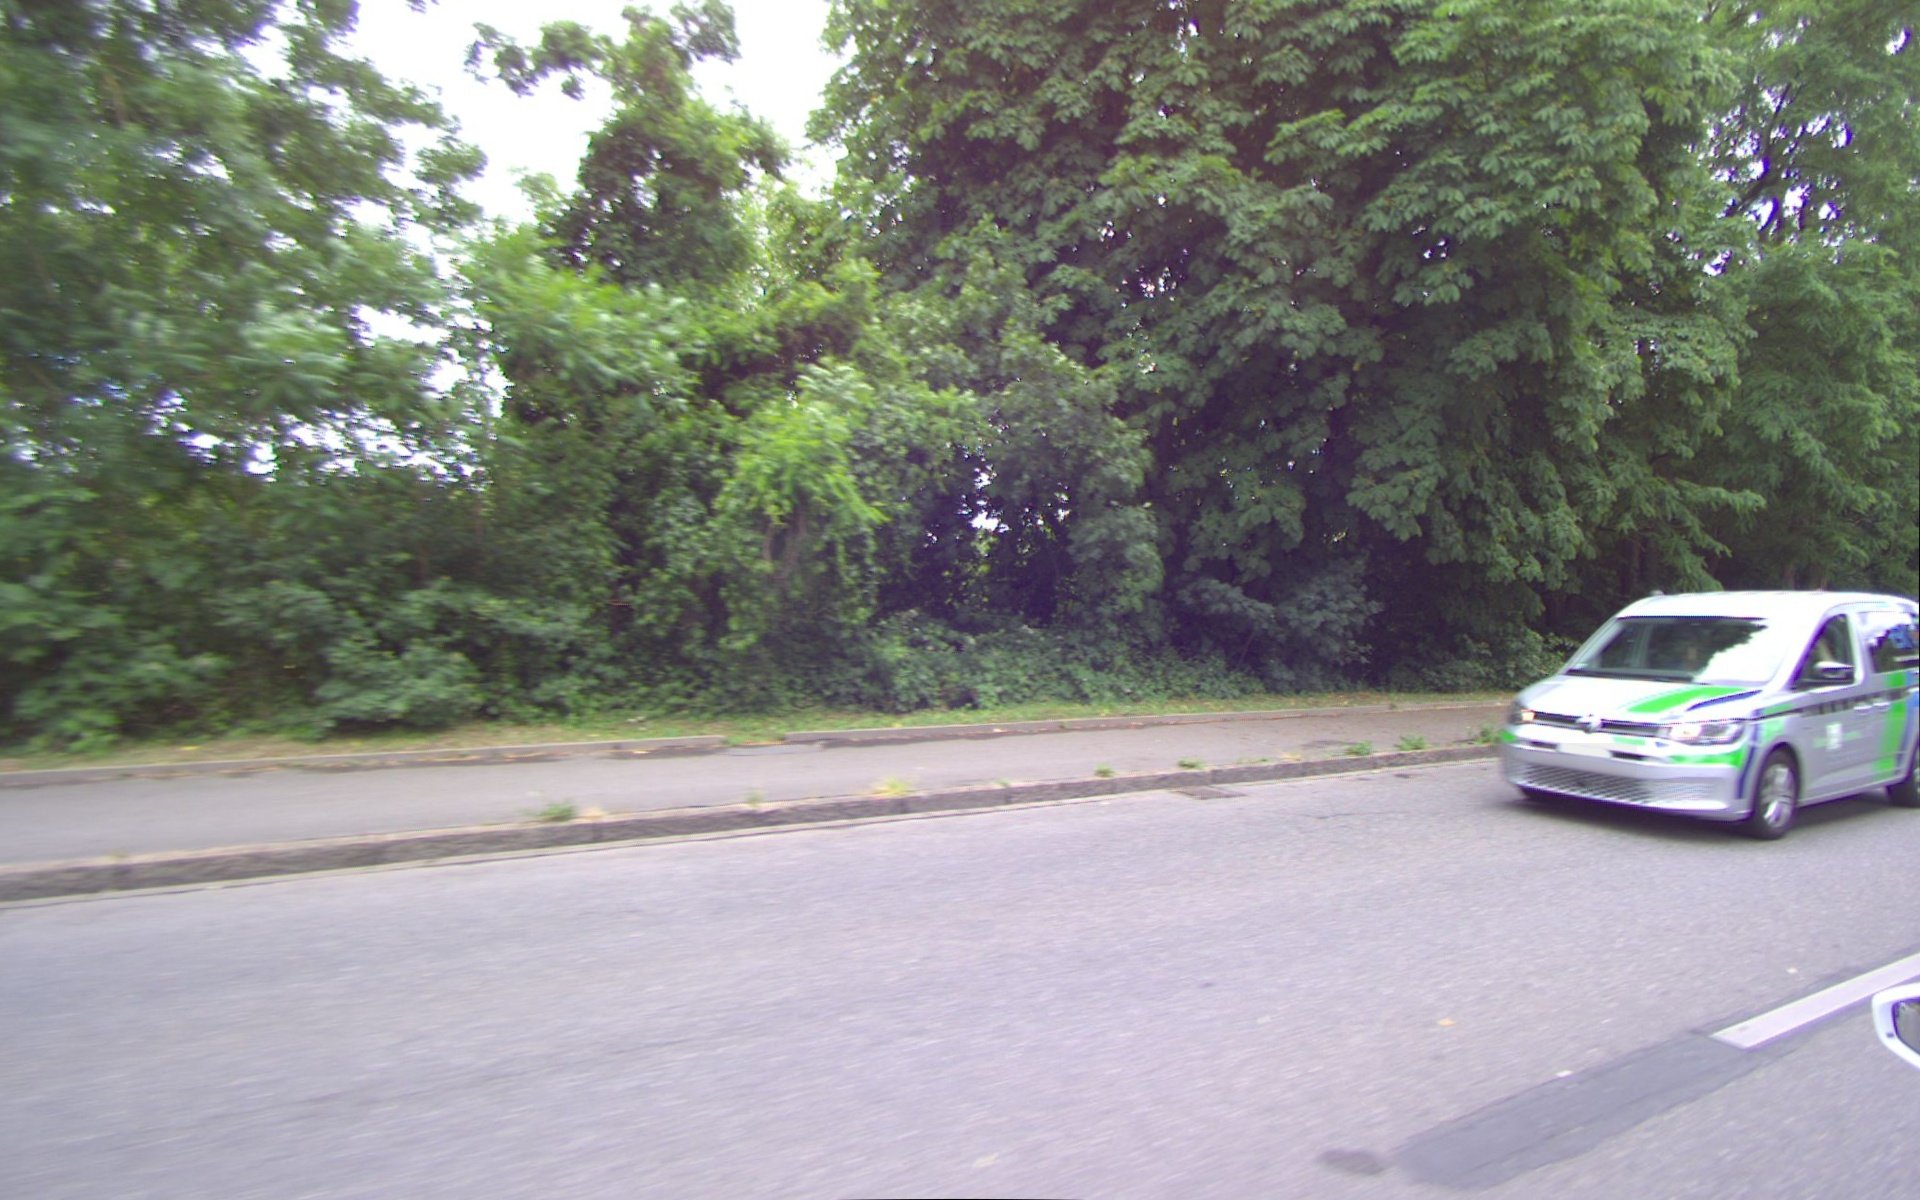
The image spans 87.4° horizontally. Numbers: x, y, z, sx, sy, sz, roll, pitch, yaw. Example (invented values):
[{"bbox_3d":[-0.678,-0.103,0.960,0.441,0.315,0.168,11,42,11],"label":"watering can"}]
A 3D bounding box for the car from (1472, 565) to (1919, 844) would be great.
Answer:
[{"bbox_3d":[6.545,0.728,8.540,4.505,1.823,1.847,1,-1,-32],"label":"car"}]

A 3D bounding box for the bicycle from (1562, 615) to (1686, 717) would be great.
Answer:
[{"bbox_3d":[9.604,0.910,14.493,2.258,1.349,0.693,1,2,-36],"label":"bicycle"}]

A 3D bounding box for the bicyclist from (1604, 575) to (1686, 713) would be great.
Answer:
[{"bbox_3d":[10.137,0.634,14.876,0.827,1.974,0.682,1,1,-35],"label":"bicyclist"}]
